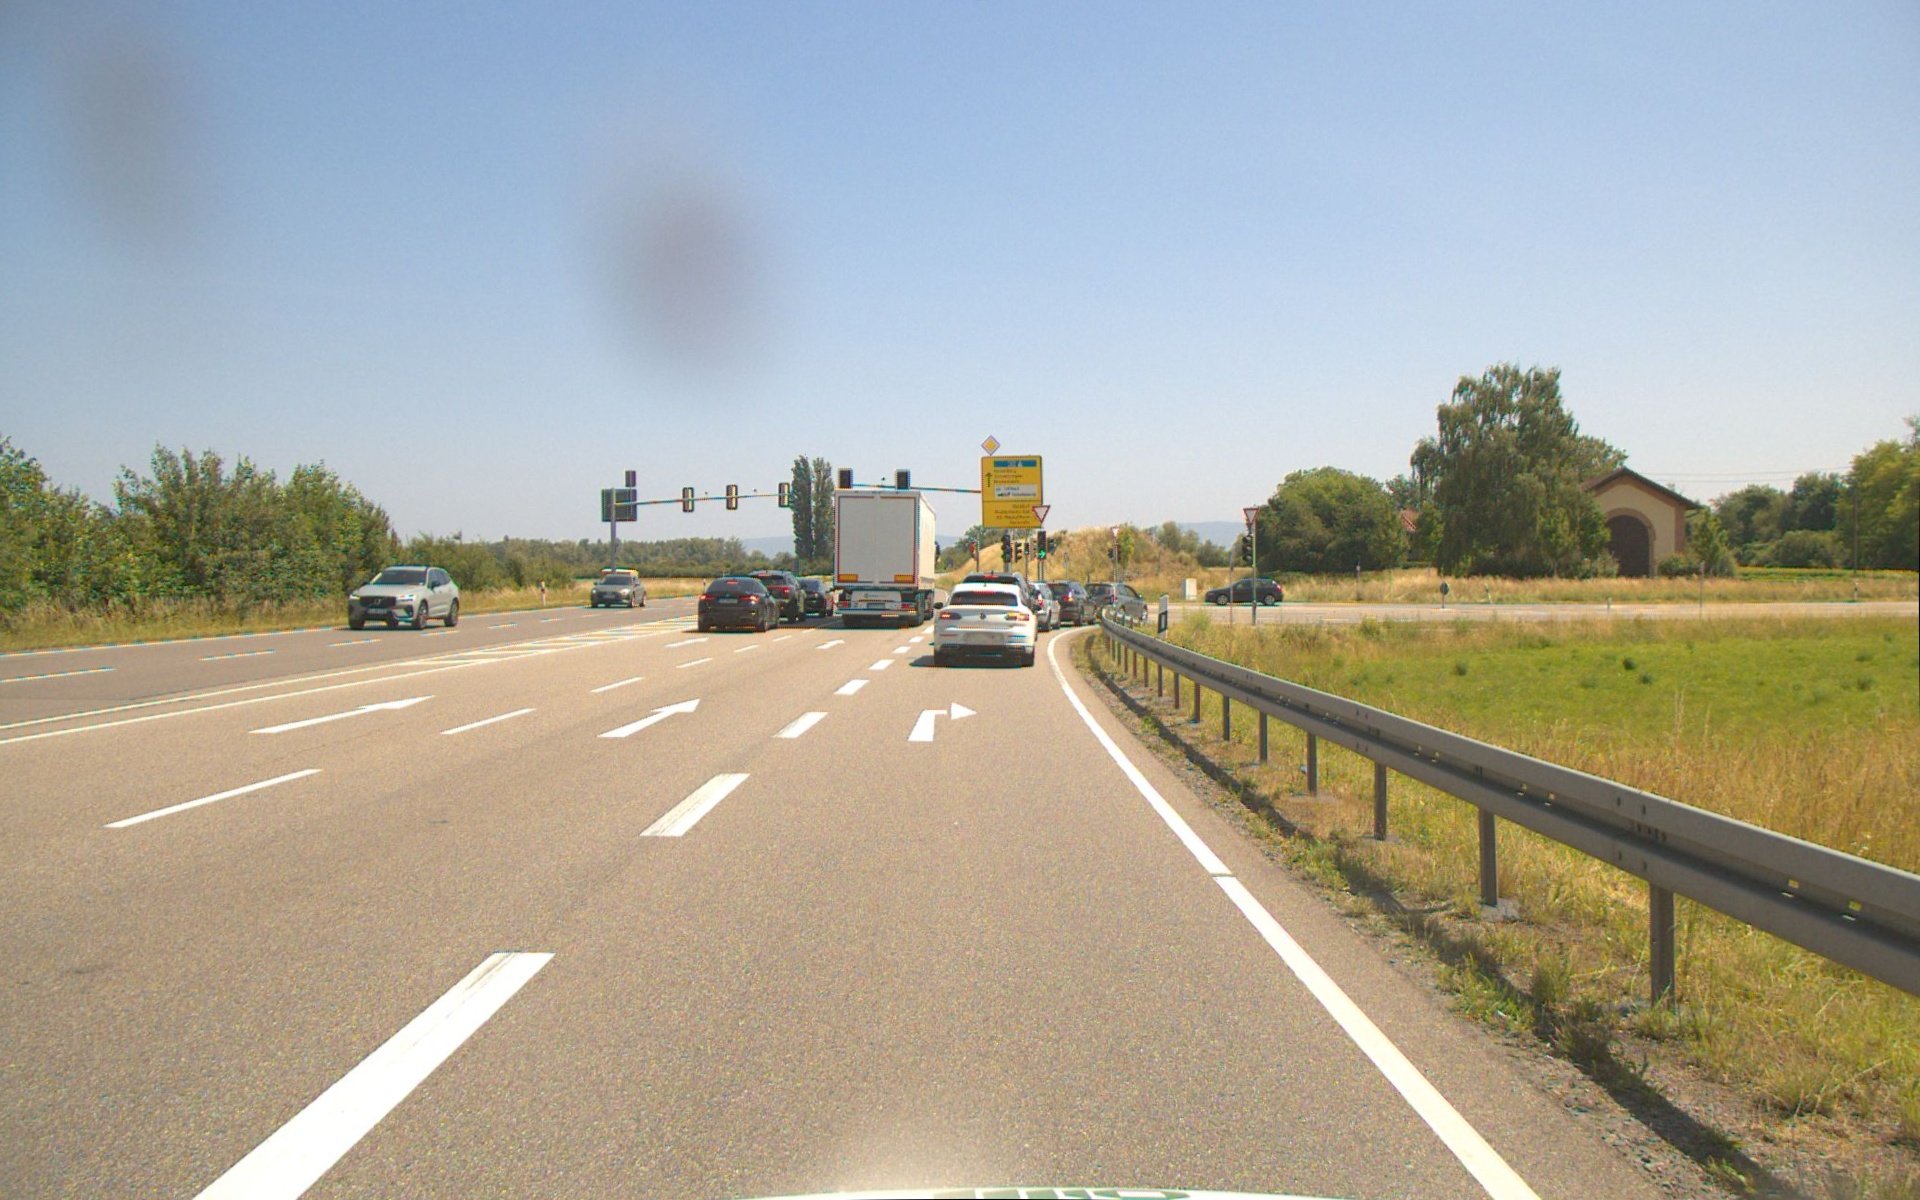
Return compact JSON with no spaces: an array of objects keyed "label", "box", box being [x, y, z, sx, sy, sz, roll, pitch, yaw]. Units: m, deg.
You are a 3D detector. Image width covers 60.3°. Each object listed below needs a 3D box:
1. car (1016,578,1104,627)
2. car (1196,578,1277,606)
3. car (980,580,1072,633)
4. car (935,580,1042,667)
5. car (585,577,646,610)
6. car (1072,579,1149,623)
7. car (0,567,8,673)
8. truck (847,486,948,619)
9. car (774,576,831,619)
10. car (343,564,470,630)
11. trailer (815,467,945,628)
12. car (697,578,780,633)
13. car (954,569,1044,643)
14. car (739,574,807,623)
[{"label":"car","box":[3.317,0.070,54.199,1.762,1.502,4.416,1,0,19]},{"label":"car","box":[14.887,-0.451,89.163,4.170,1.392,1.777,-1,2,4]},{"label":"car","box":[1.979,0.170,48.533,1.762,1.454,4.095,1,0,16]},{"label":"car","box":[0.531,0.382,30.499,1.809,1.458,4.609,1,0,1]},{"label":"car","box":[-15.325,-0.308,73.759,1.840,1.422,4.530,1,0,-1]},{"label":"car","box":[5.582,0.022,60.950,1.763,1.548,3.882,1,0,22]},{"label":"car","box":[-14.443,0.288,21.961,1.611,1.513,3.558,1,0,-2]},{"label":"truck","box":[-2.228,-1.704,61.488,3.311,4.622,6.373,1,1,1]},{"label":"car","box":[-5.891,-0.112,62.134,1.772,1.519,4.021,1,0,-1]},{"label":"car","box":[-14.910,-0.088,44.784,1.987,1.668,4.568,1,0,-2]},{"label":"trailer","box":[-2.390,-1.598,54.492,3.311,4.622,12.874,1,1,1]},{"label":"car","box":[-6.093,0.129,45.890,1.772,1.423,4.021,1,0,-1]},{"label":"car","box":[0.977,0.128,39.321,1.894,1.644,4.381,1,0,4]},{"label":"car","box":[-6.061,-0.060,54.004,1.772,1.519,4.021,1,0,-1]}]
